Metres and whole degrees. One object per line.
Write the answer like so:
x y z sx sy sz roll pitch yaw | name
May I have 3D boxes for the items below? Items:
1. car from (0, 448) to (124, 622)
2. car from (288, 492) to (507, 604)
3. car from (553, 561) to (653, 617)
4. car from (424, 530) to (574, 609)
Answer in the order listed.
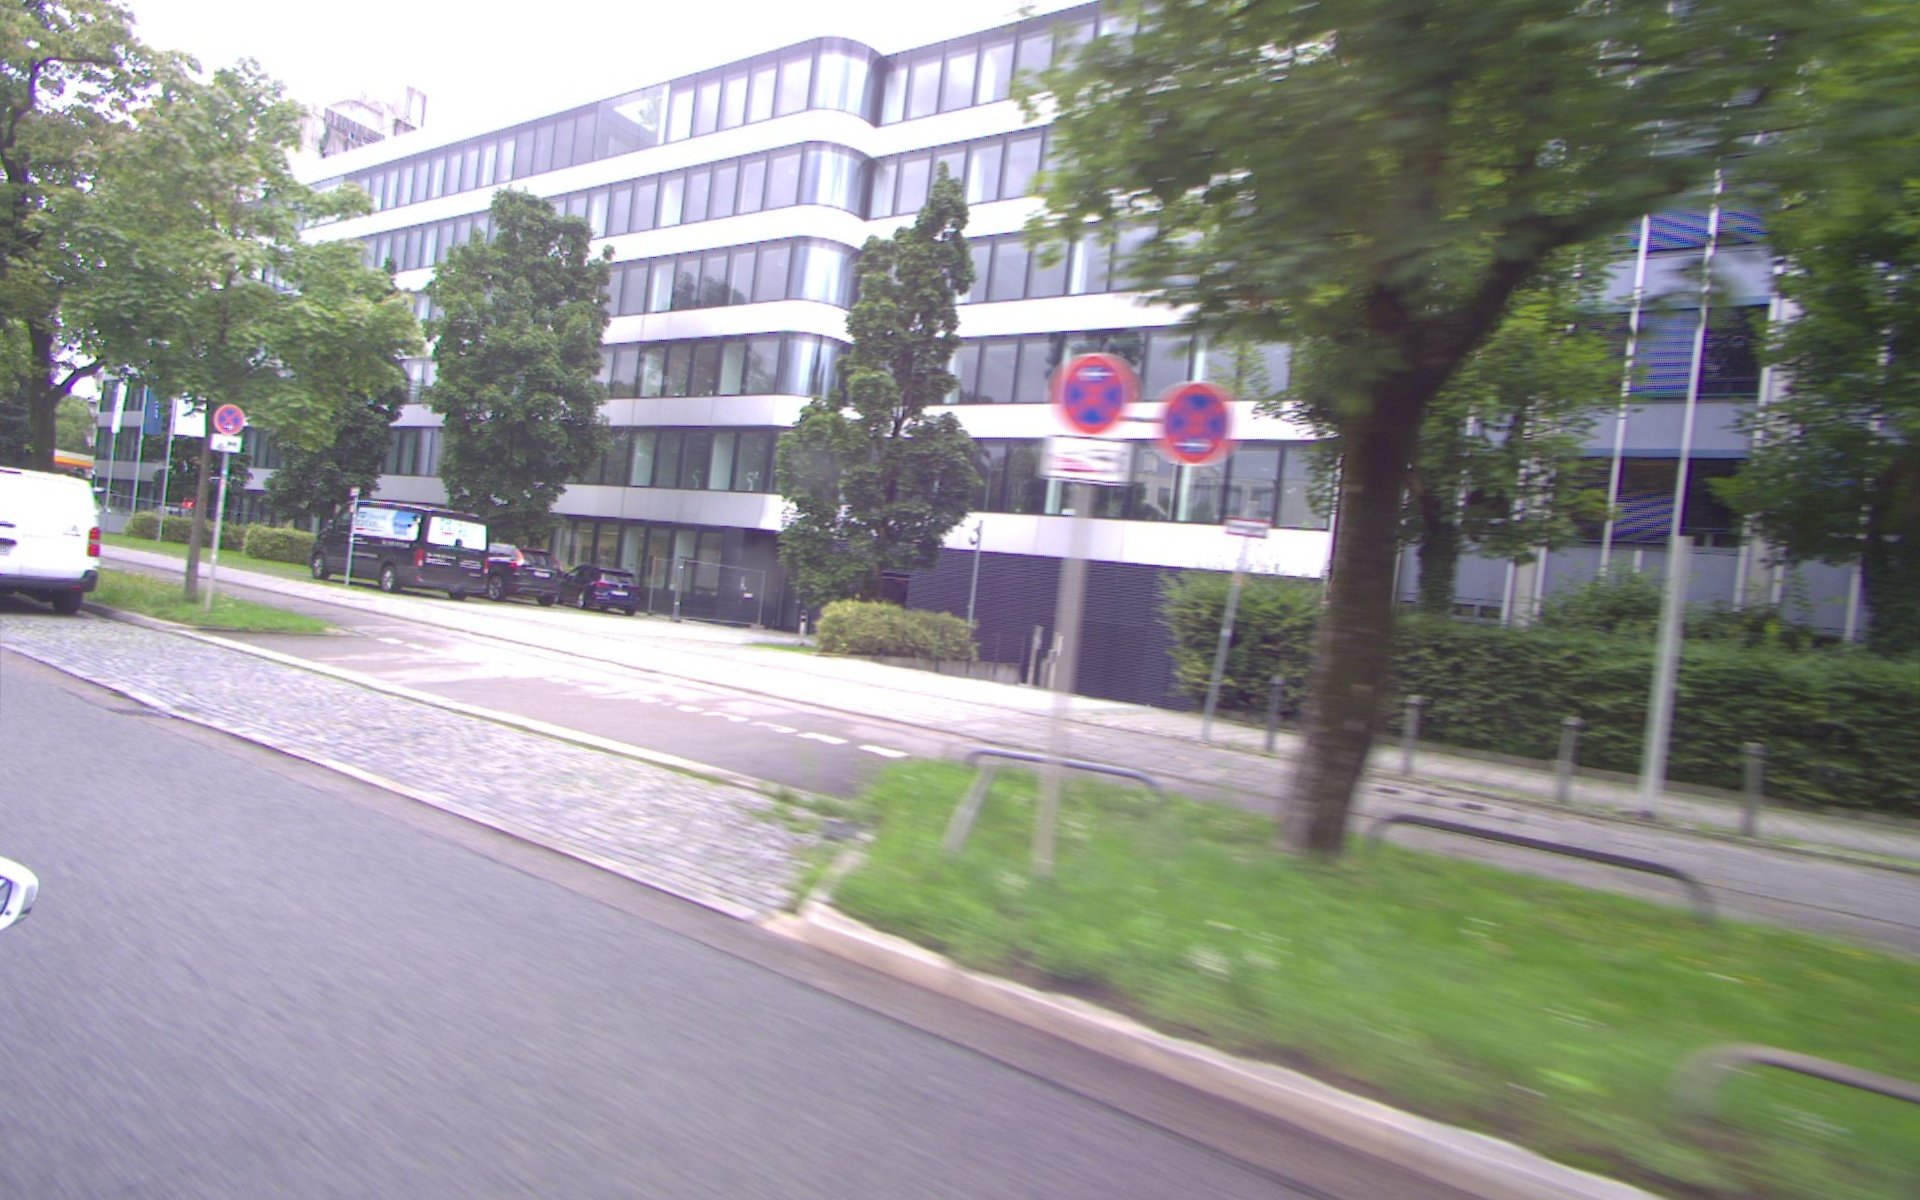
-14.583 -1.114 14.760 5.466 2.184 1.988 7 1 34 | car
-15.153 -1.436 26.976 6.164 2.336 2.267 7 1 32 | car
-11.556 -0.382 32.405 1.774 1.390 3.923 8 -1 -38 | car
-13.842 -0.923 30.127 4.398 1.841 1.844 7 1 32 | car
